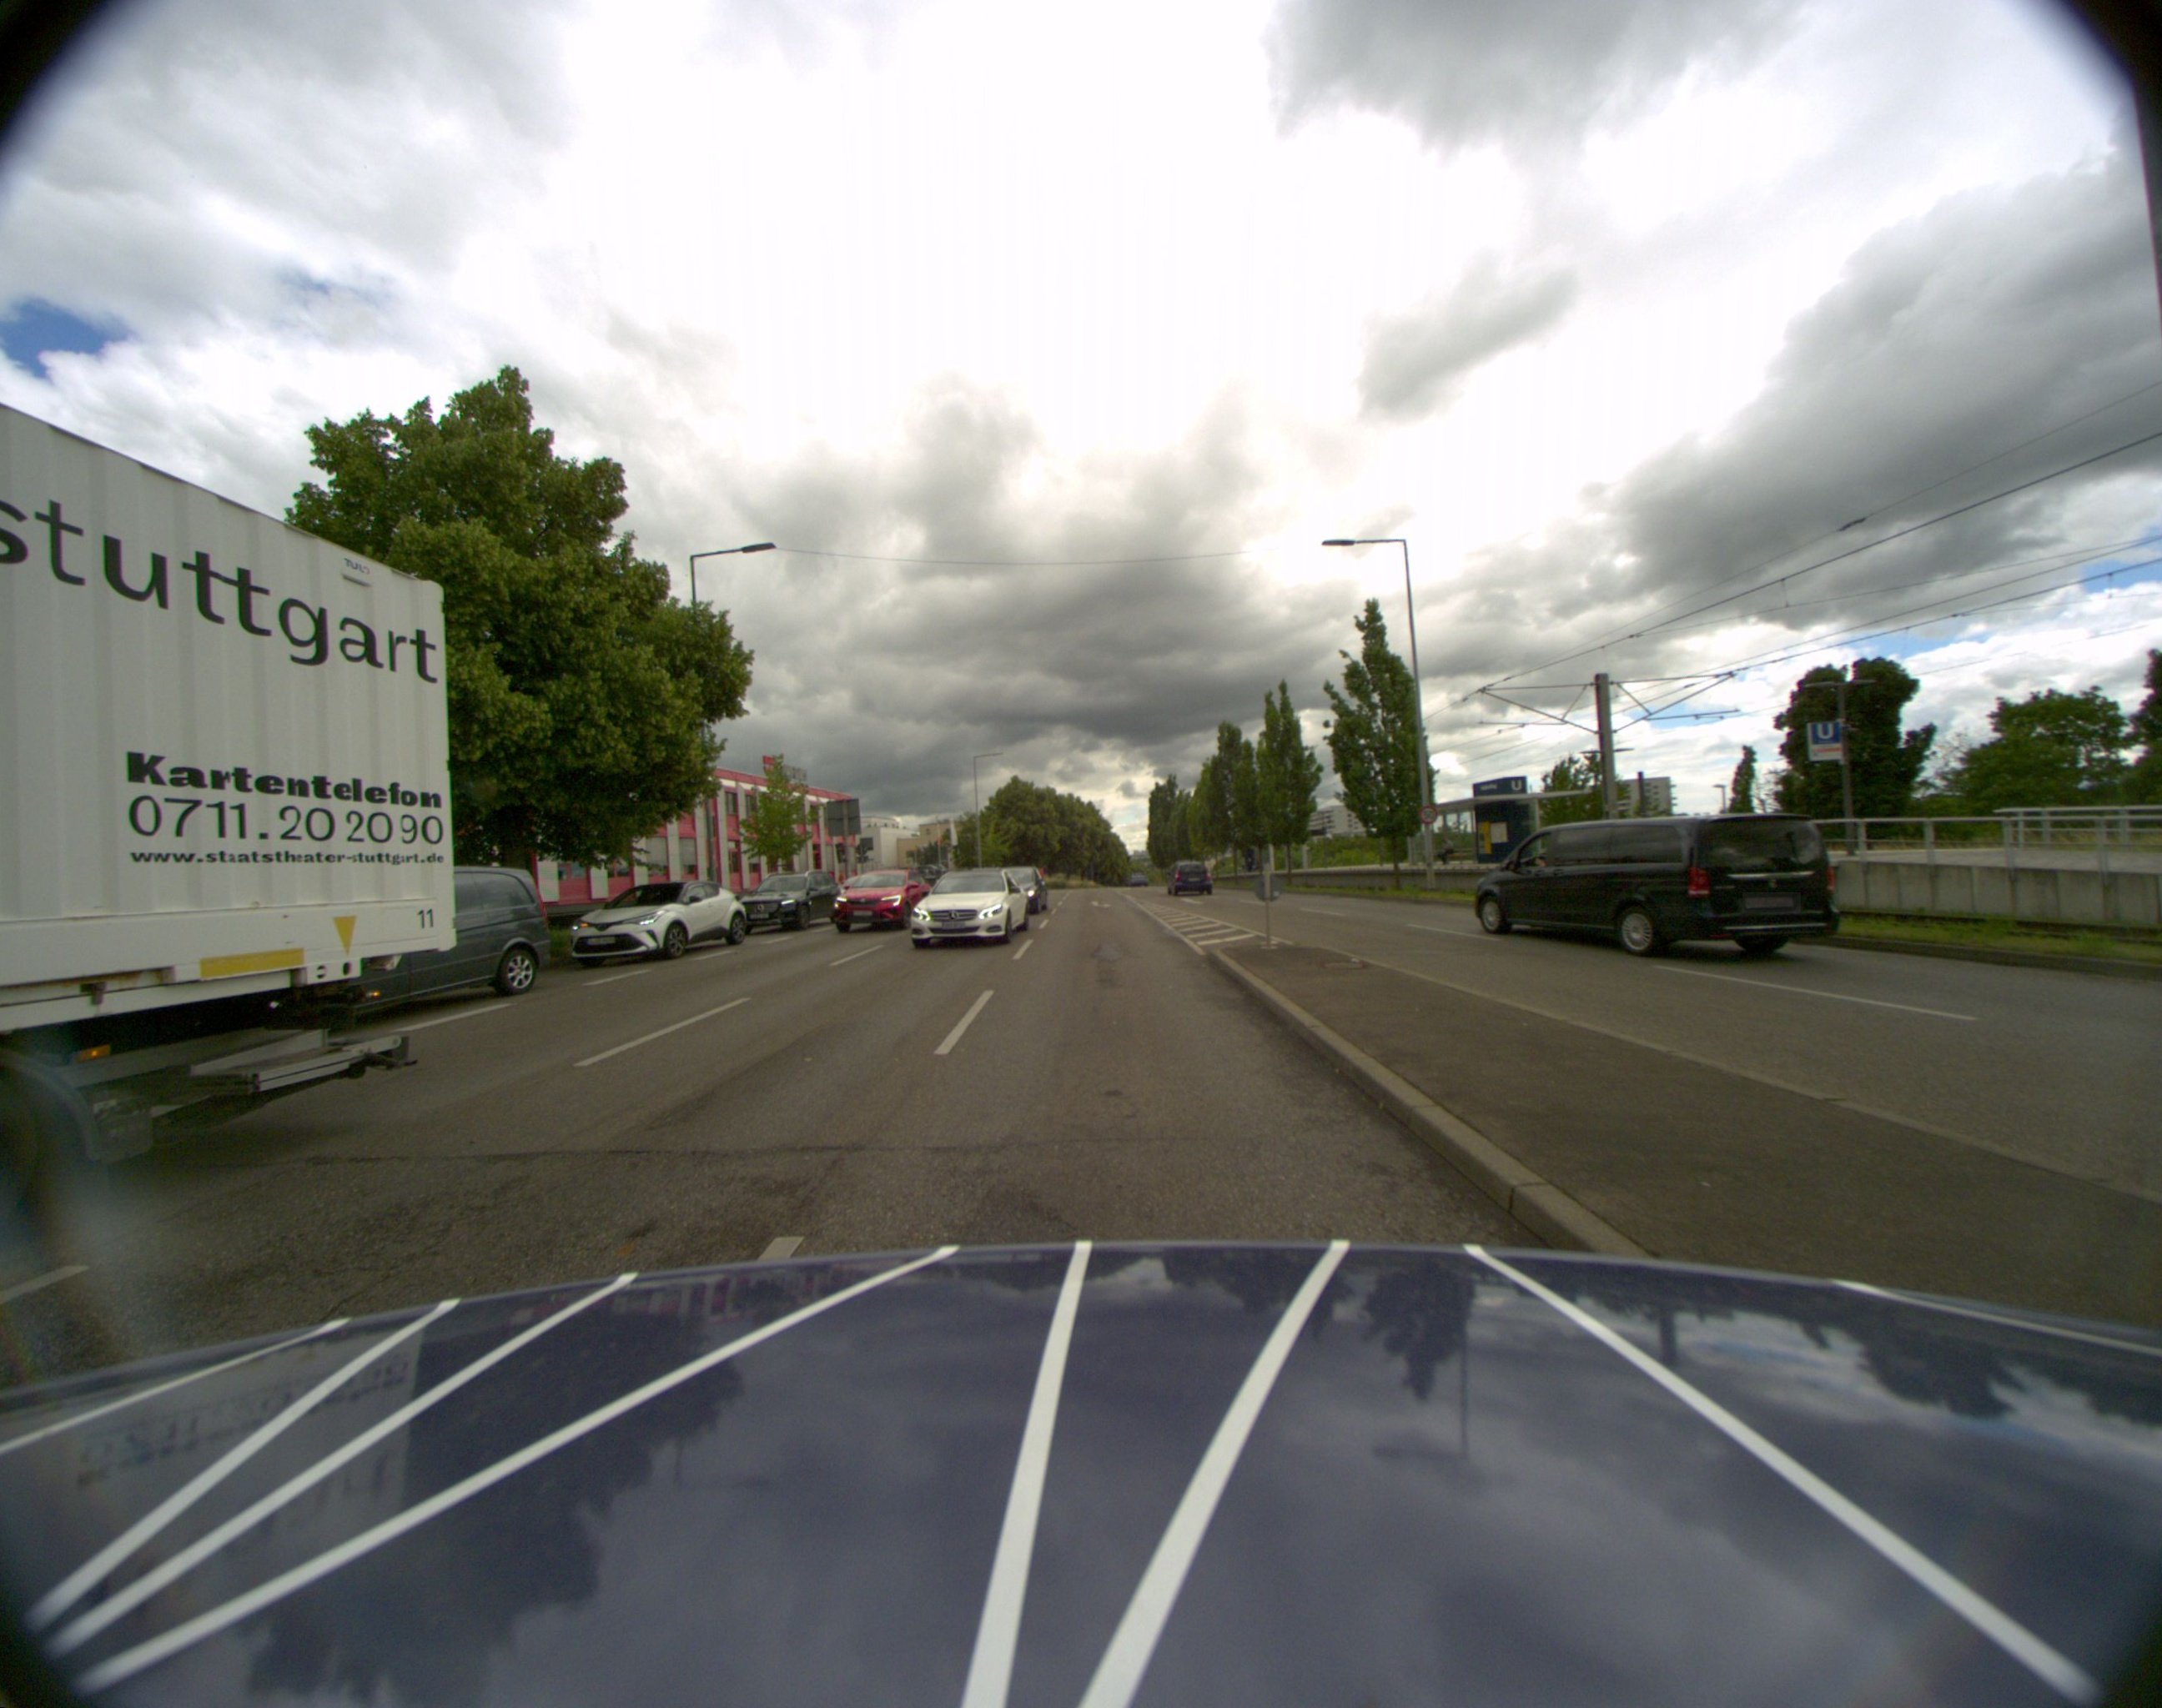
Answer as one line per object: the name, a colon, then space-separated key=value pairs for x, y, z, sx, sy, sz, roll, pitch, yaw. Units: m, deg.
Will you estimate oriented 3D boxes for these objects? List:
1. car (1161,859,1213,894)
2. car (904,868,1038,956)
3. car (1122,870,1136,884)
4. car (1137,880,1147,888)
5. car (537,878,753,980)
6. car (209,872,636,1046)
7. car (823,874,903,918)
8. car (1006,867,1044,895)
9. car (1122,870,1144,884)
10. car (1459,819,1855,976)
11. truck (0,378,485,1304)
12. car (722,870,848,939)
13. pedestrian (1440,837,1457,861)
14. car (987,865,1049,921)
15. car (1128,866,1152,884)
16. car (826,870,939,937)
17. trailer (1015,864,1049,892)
car: x=4.962 y=1.031 z=35.968 sx=1.740 sy=1.499 sz=3.659 roll=-2 pitch=0 yaw=-2
car: x=-2.131 y=1.089 z=15.965 sx=1.803 sy=1.403 sz=4.318 roll=-2 pitch=1 yaw=5
car: x=7.375 y=3.504 z=117.232 sx=1.920 sy=1.953 sz=5.373 roll=-2 pitch=1 yaw=1
car: x=11.469 y=5.648 z=143.023 sx=1.699 sy=1.440 sz=3.661 roll=-2 pitch=0 yaw=4
car: x=-8.597 y=1.388 z=15.479 sx=1.844 sy=1.507 sz=4.106 roll=-6 pitch=0 yaw=1
car: x=-8.675 y=1.227 z=10.757 sx=1.763 sy=1.764 sz=4.676 roll=-4 pitch=-1 yaw=2
car: x=-8.385 y=1.572 z=29.594 sx=1.763 sy=1.431 sz=4.370 roll=-3 pitch=0 yaw=0
car: x=-3.331 y=1.595 z=45.938 sx=1.775 sy=1.442 sz=4.401 roll=-2 pitch=1 yaw=1
car: x=6.066 y=2.684 z=89.491 sx=1.876 sy=1.416 sz=4.430 roll=-2 pitch=1 yaw=-4
car: x=8.103 y=0.502 z=11.530 sx=1.893 sy=1.802 sz=5.090 roll=-2 pitch=0 yaw=-4
truck: x=-5.969 y=-0.038 z=0.526 sx=2.810 sy=3.880 sz=10.182 roll=-2 pitch=0 yaw=1
car: x=-8.448 y=1.379 z=22.152 sx=1.865 sy=1.648 sz=4.209 roll=-4 pitch=-1 yaw=1
pedestrian: x=17.794 y=-0.243 z=36.809 sx=0.601 sy=1.148 sz=0.447 roll=-2 pitch=1 yaw=1
car: x=-2.032 y=1.237 z=25.543 sx=1.669 sy=1.589 sz=3.996 roll=-2 pitch=1 yaw=0
car: x=5.672 y=2.034 z=73.246 sx=1.761 sy=1.519 sz=3.599 roll=-2 pitch=1 yaw=-3
car: x=-5.263 y=1.261 z=20.787 sx=1.851 sy=1.521 sz=4.377 roll=-2 pitch=-1 yaw=0
trailer: x=-3.189 y=1.537 z=50.112 sx=1.775 sy=1.650 sz=3.996 roll=-2 pitch=1 yaw=1
